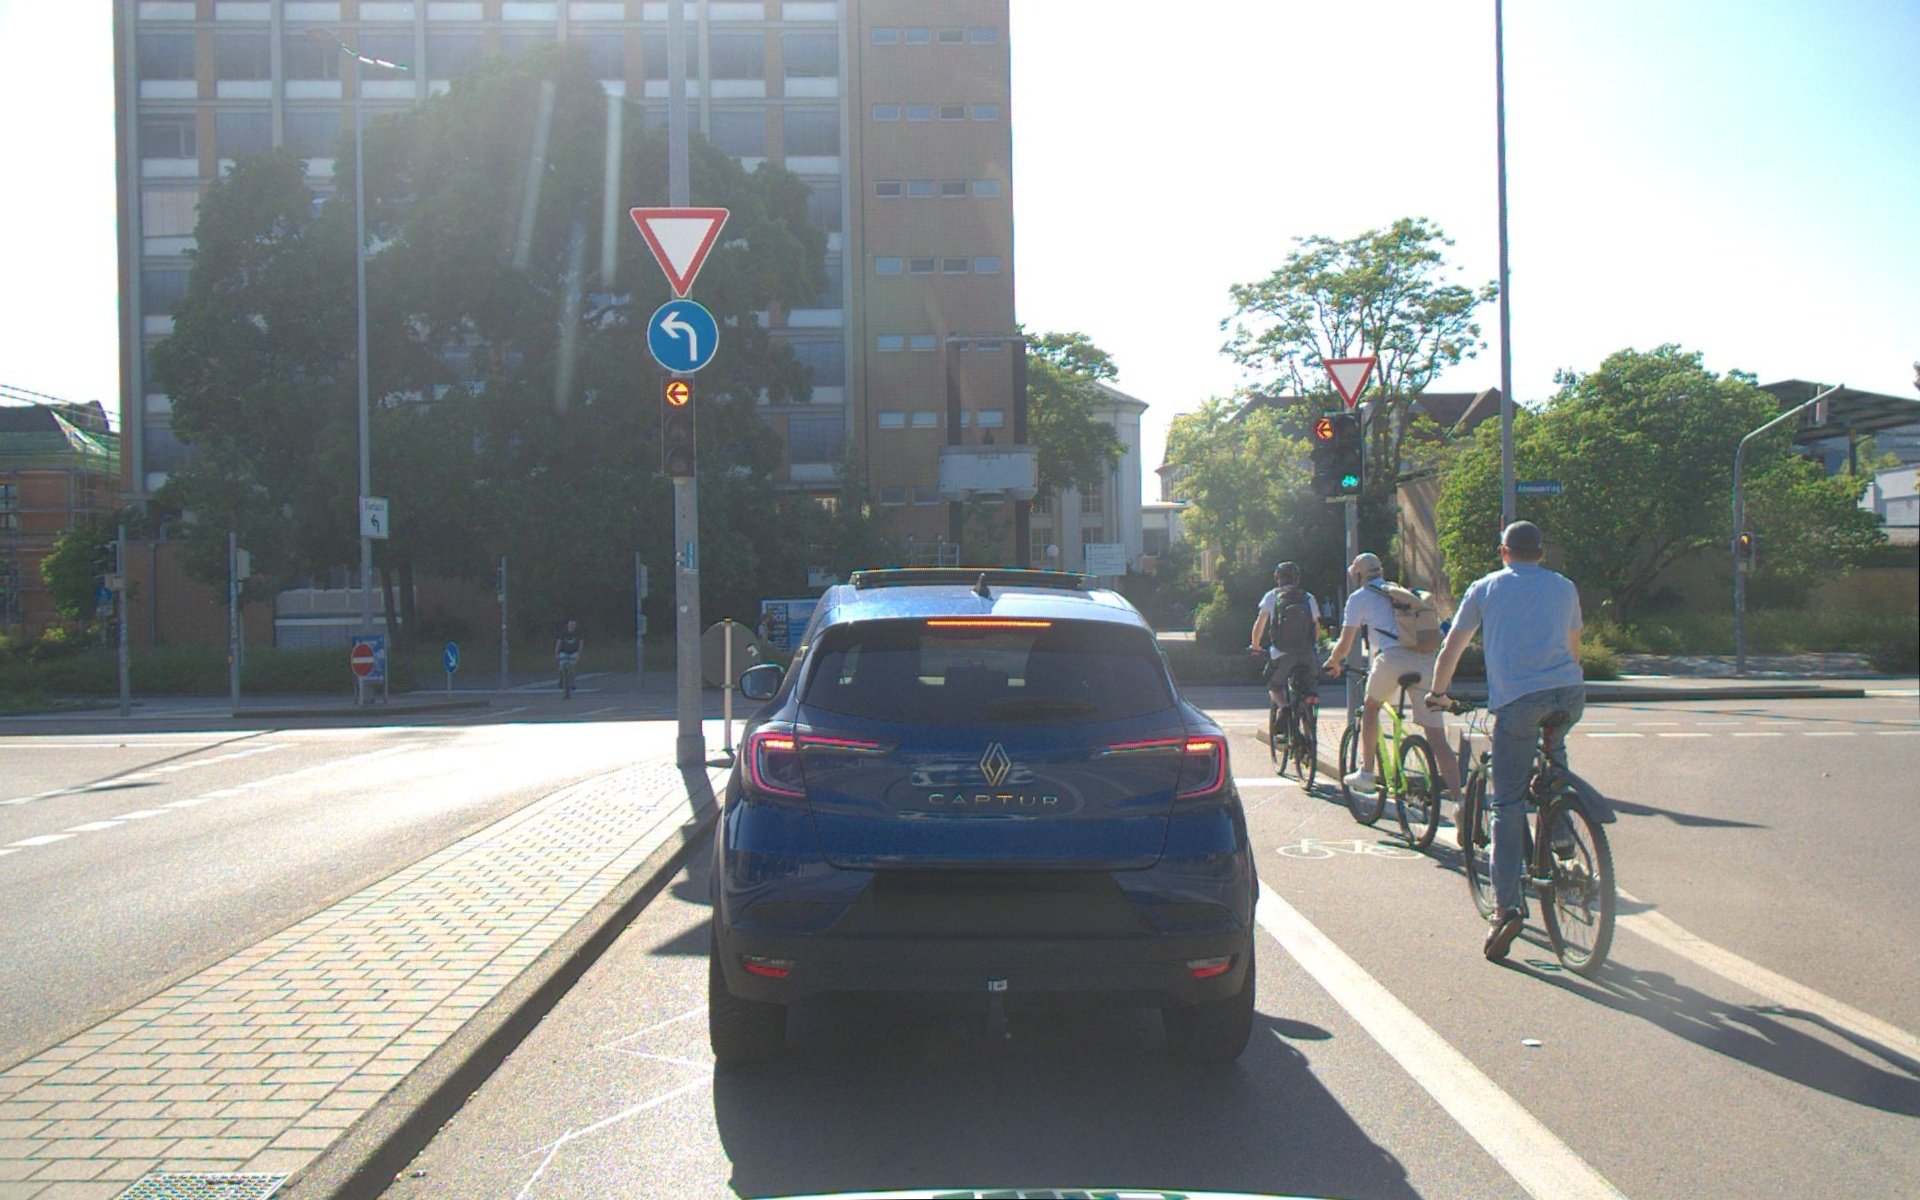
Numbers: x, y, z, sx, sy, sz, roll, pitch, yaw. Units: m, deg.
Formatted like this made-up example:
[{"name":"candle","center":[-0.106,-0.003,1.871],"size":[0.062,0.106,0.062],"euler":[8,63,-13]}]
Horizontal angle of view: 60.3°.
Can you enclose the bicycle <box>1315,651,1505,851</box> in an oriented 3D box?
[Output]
[{"name":"bicycle","center":[2.835,0.911,10.615],"size":[0.675,1.108,1.922],"euler":[0,0,-1]}]

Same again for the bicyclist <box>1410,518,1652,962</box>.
[{"name":"bicyclist","center":[2.502,0.574,7.364],"size":[0.669,1.822,1.142],"euler":[0,0,-1]}]

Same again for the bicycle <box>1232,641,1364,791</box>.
[{"name":"bicycle","center":[2.762,0.914,13.691],"size":[0.675,1.108,1.922],"euler":[0,0,-1]}]

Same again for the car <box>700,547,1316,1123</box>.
[{"name":"car","center":[0.057,0.663,6.645],"size":[1.753,1.613,3.912],"euler":[0,0,-3]}]

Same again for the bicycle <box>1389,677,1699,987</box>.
[{"name":"bicycle","center":[2.504,0.939,7.343],"size":[0.675,1.108,1.922],"euler":[0,0,-1]}]

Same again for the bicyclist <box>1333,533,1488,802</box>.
[{"name":"bicyclist","center":[2.851,0.407,10.564],"size":[0.664,1.622,1.142],"euler":[0,0,-1]}]

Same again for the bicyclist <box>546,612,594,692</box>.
[{"name":"bicyclist","center":[-8.665,1.144,36.740],"size":[0.739,1.746,0.999],"euler":[-1,0,5]}]

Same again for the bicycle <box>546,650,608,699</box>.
[{"name":"bicycle","center":[-8.610,1.669,37.284],"size":[0.739,1.002,2.095],"euler":[-1,0,5]}]

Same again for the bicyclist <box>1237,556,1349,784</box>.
[{"name":"bicyclist","center":[2.759,0.559,13.798],"size":[0.685,1.822,1.142],"euler":[0,0,-1]}]

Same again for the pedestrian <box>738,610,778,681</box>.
[{"name":"pedestrian","center":[-5.482,1.242,44.996],"size":[0.796,1.895,0.910],"euler":[-1,0,13]}]
